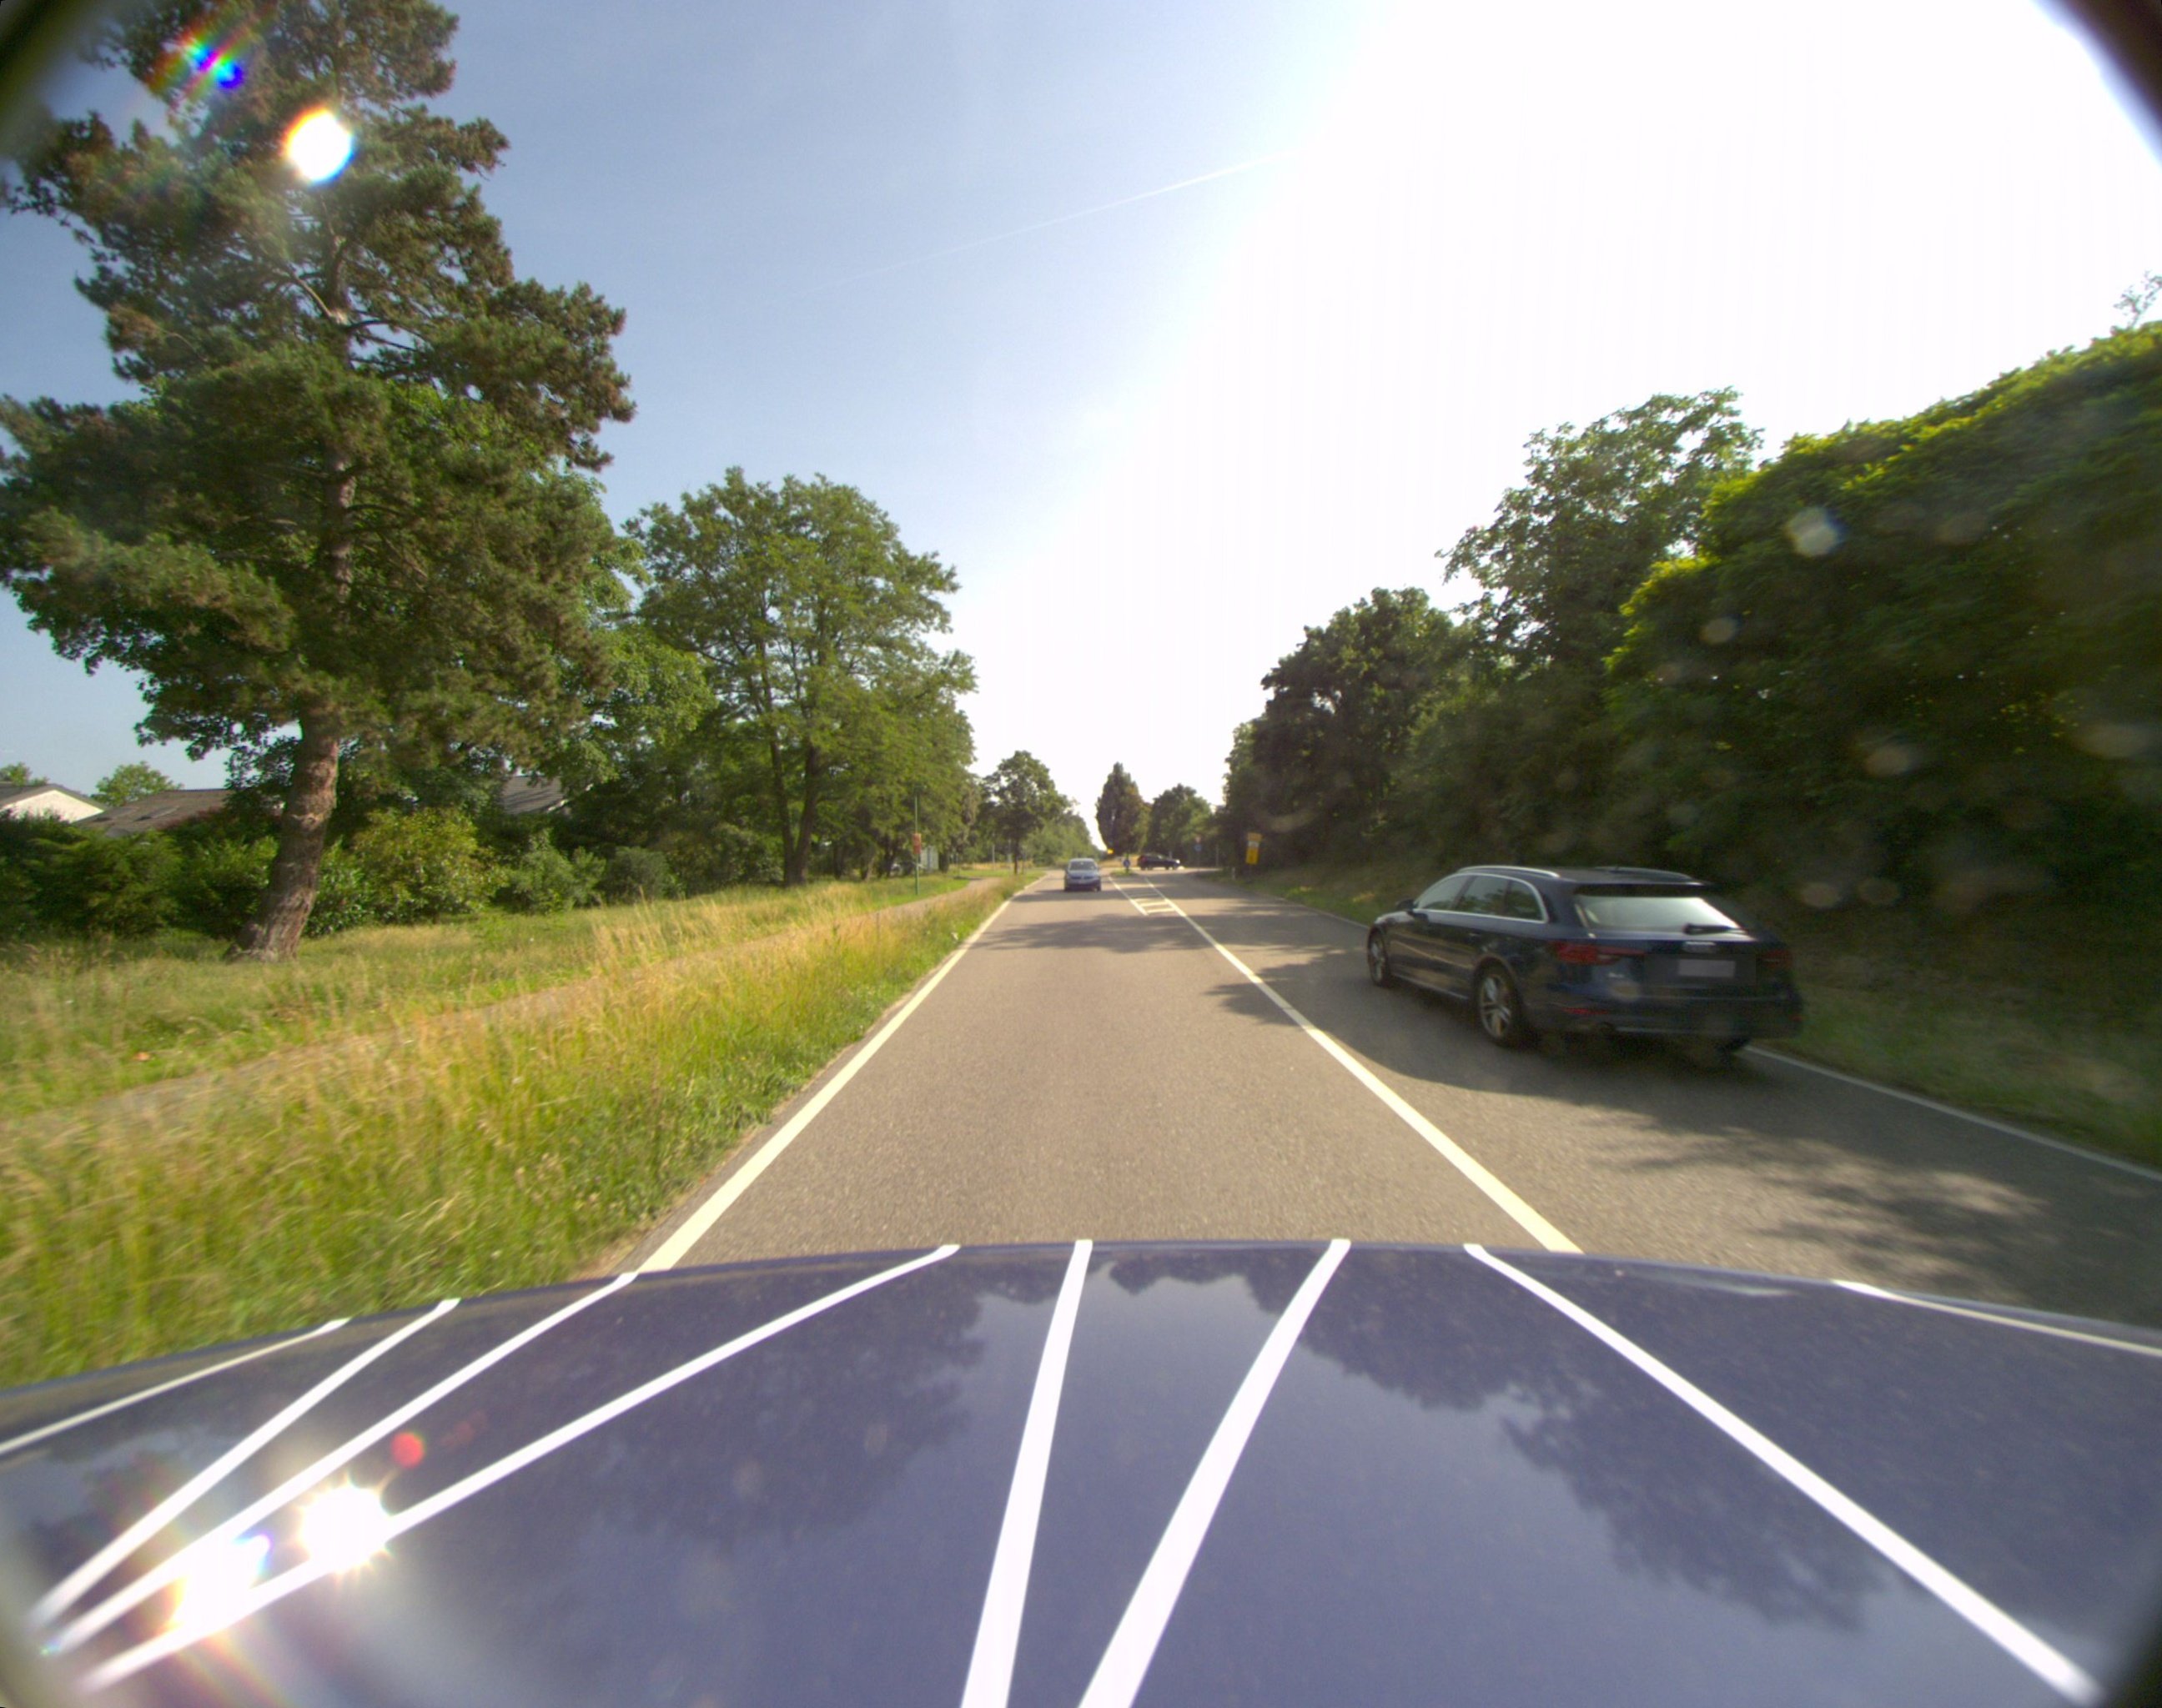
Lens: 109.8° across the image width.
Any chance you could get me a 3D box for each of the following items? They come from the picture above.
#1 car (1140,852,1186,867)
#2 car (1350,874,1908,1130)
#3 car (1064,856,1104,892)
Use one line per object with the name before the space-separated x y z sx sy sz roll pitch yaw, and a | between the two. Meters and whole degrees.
car | 8.623 0.583 80.029 4.617 1.592 1.953 -1 0 0
car | 4.196 0.980 6.999 1.875 1.415 4.577 1 0 1
car | 0.186 0.930 37.190 1.808 1.592 4.270 -1 0 2
